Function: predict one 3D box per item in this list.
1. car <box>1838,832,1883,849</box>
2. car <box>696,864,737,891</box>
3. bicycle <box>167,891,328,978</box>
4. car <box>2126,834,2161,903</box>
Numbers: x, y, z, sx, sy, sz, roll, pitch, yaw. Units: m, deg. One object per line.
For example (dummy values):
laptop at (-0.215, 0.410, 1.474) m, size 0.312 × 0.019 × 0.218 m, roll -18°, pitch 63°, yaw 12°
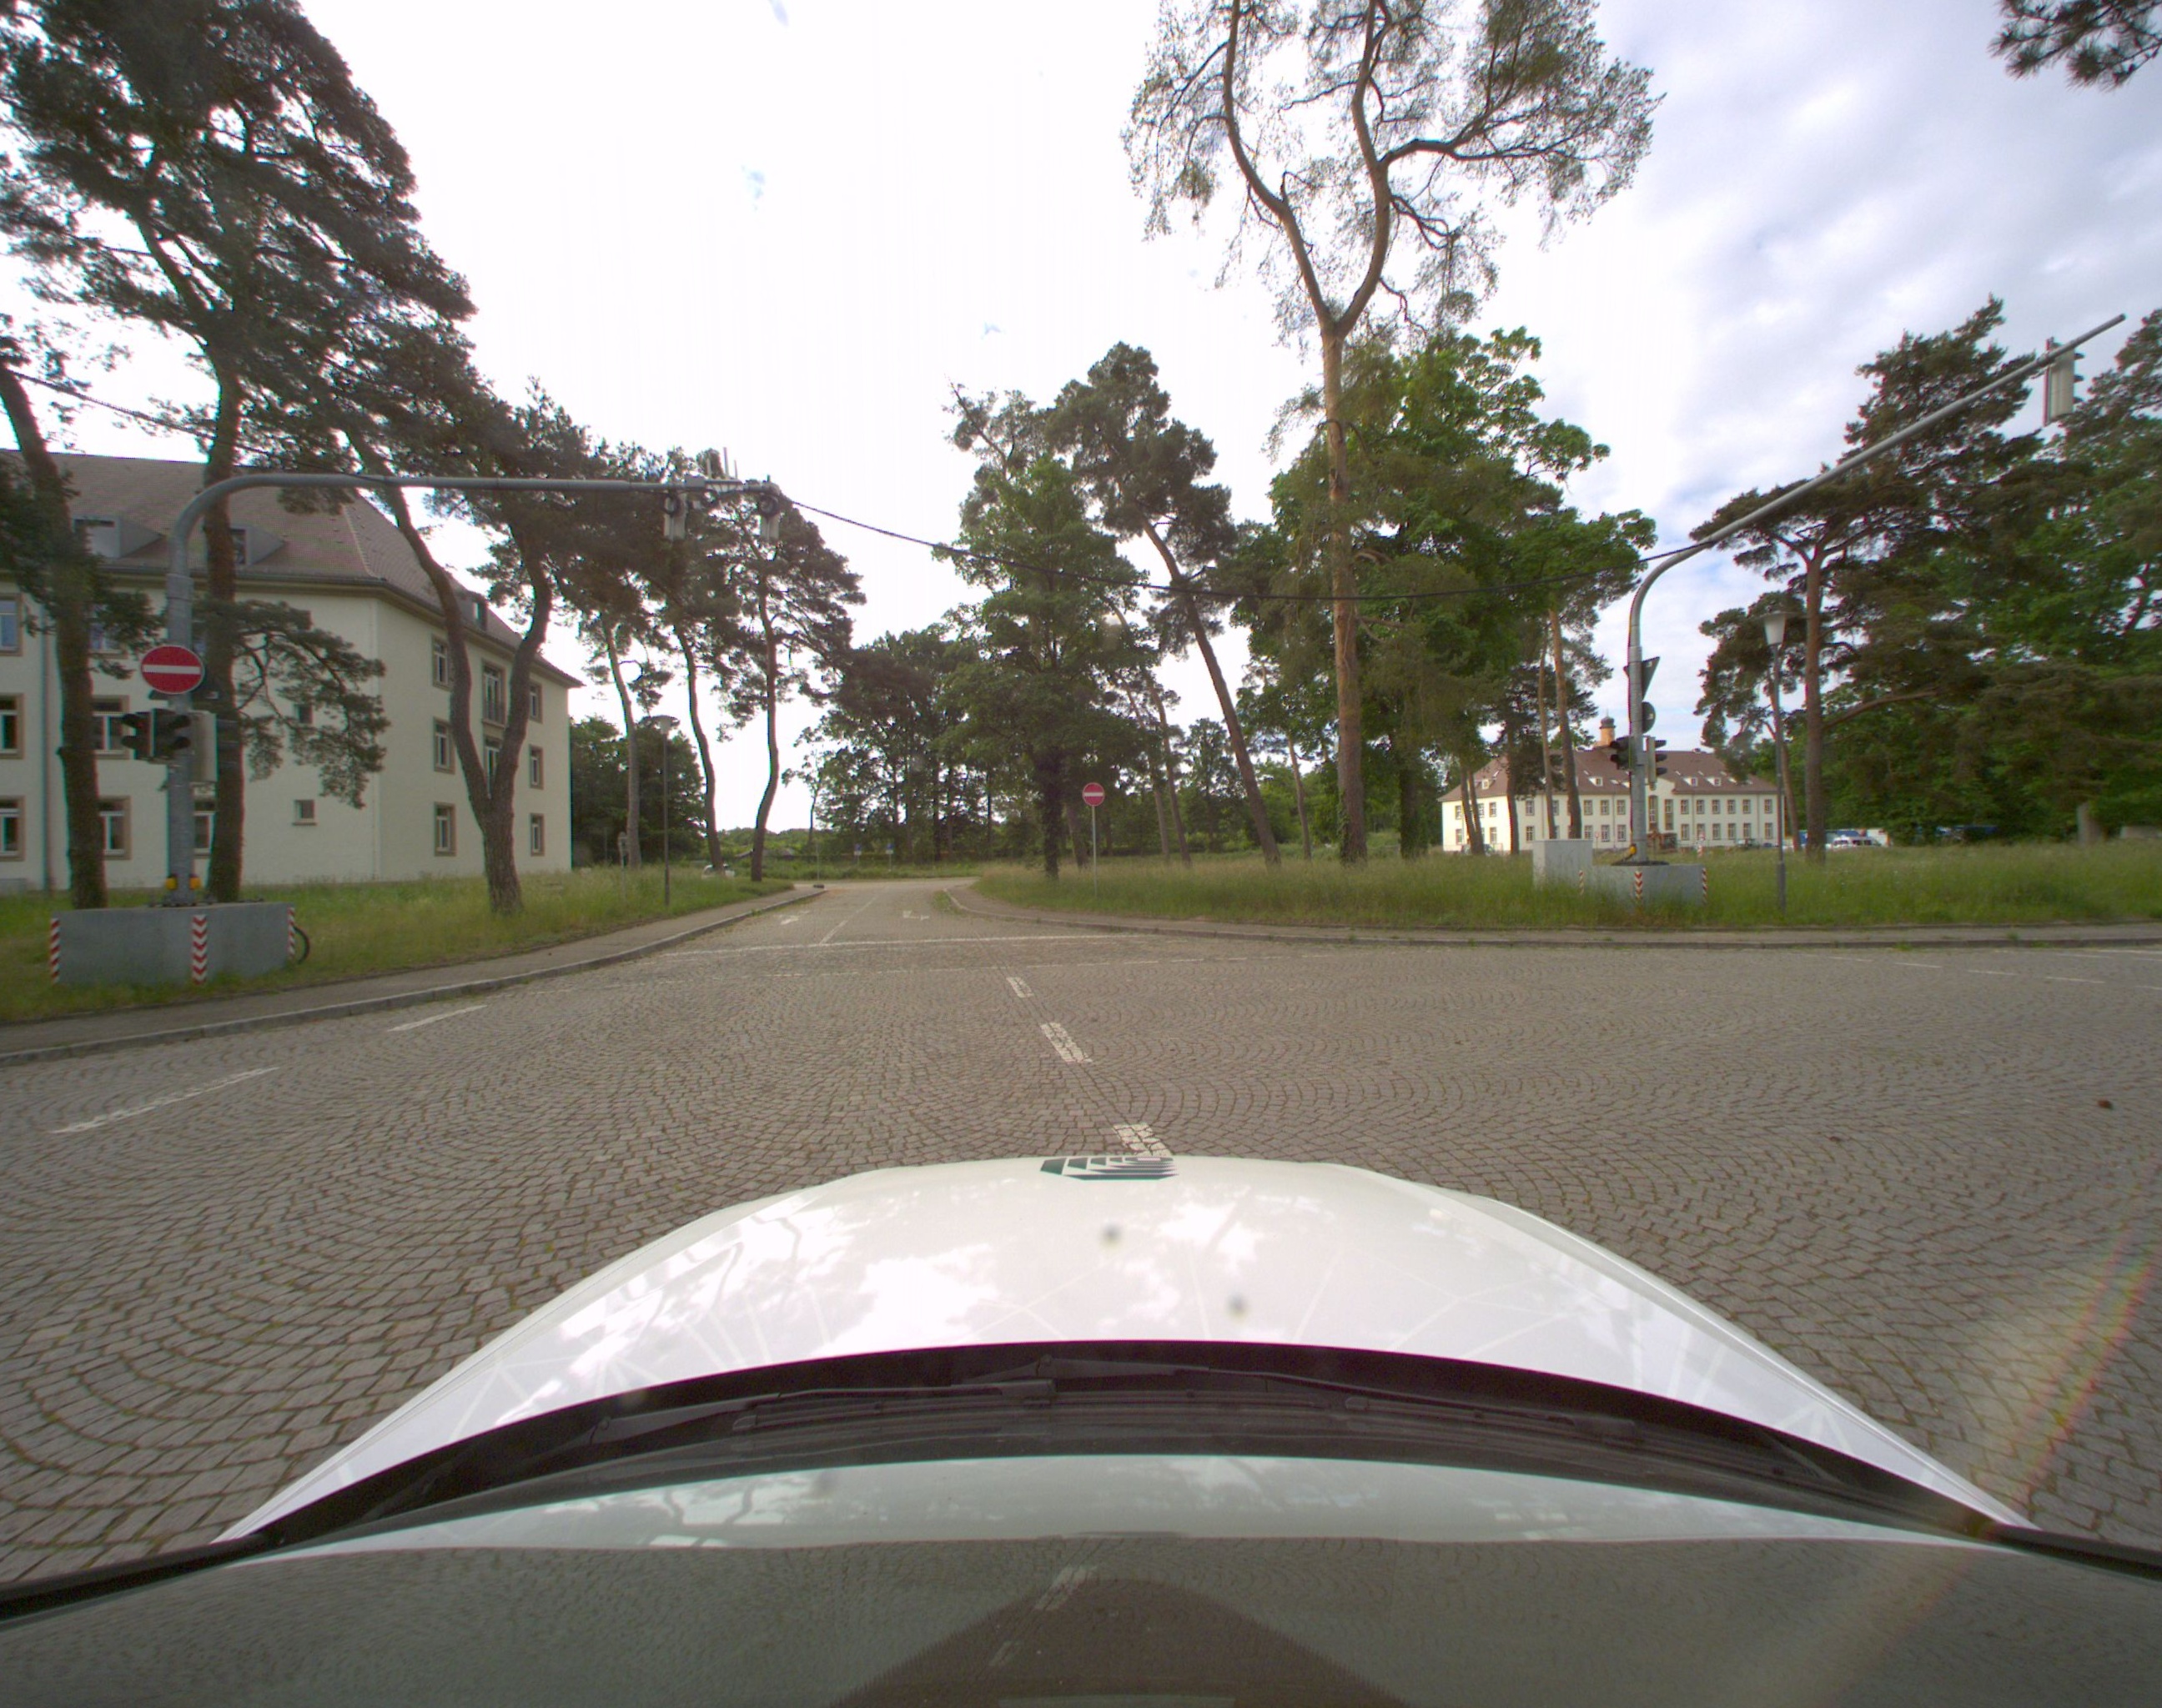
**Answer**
car at (91.060, -1.523, 95.099) m, size 4.066 × 1.905 × 1.919 m, roll 0°, pitch -1°, yaw -14°
car at (-26.403, 1.693, 59.105) m, size 1.996 × 1.846 × 3.981 m, roll 0°, pitch -1°, yaw -14°
bicycle at (-11.491, 1.090, 11.273) m, size 1.466 × 1.065 × 0.514 m, roll -2°, pitch 1°, yaw -14°
car at (24.703, 0.296, 16.381) m, size 1.734 × 1.509 × 4.229 m, roll -1°, pitch 0°, yaw -10°
